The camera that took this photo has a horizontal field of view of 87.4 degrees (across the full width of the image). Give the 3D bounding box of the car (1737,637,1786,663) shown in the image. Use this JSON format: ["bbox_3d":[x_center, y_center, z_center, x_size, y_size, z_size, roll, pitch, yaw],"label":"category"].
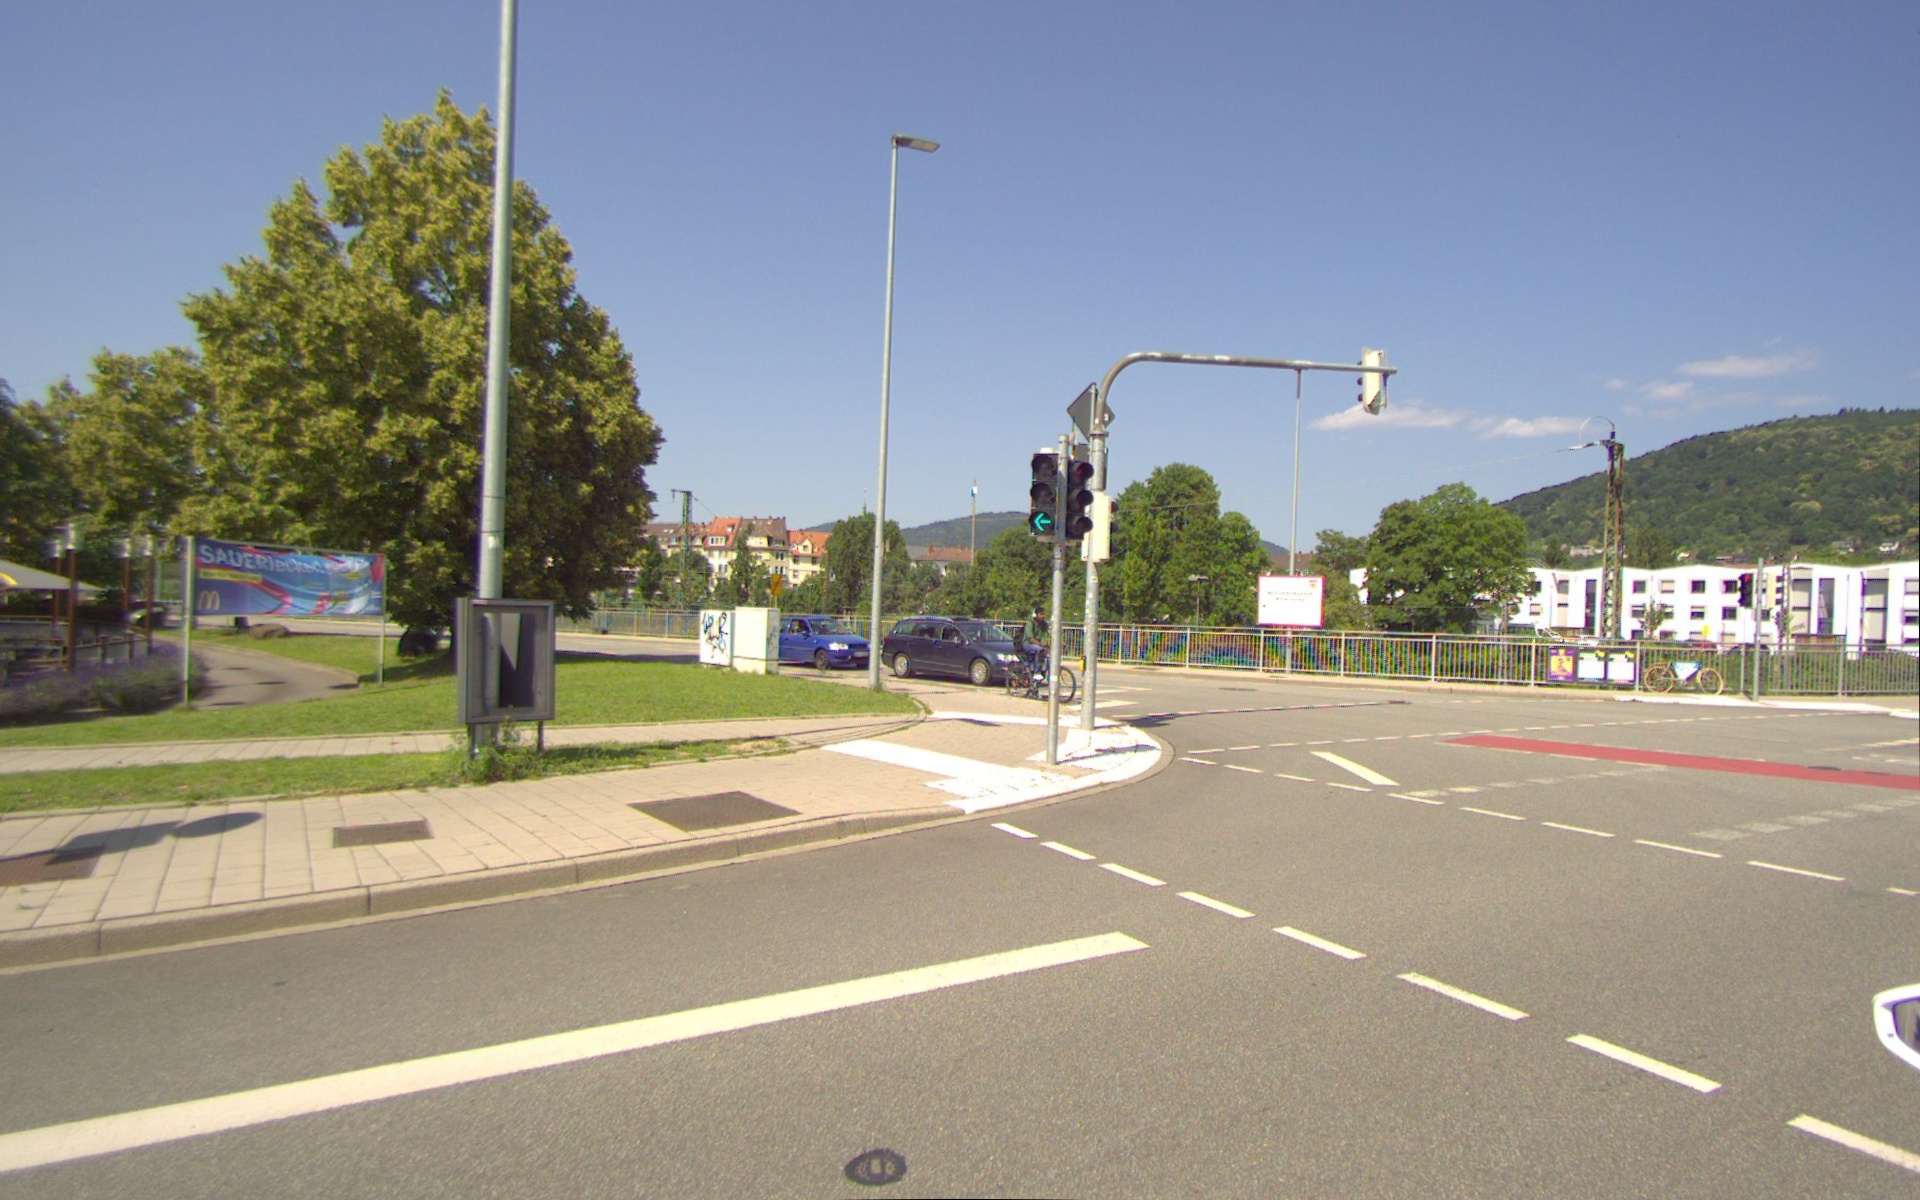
[{"bbox_3d":[69.275,4.310,86.831,4.421,2.040,1.982,2,0,-32],"label":"car"}]

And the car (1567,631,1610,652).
[{"bbox_3d":[63.152,4.194,100.928,4.421,2.040,1.982,2,0,-32],"label":"car"}]

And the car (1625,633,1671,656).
[{"bbox_3d":[65.063,4.222,94.951,4.421,2.040,1.982,2,0,-32],"label":"car"}]

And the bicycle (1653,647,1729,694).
[{"bbox_3d":[18.655,1.801,25.641,1.587,1.115,0.298,2,0,8],"label":"bicycle"}]

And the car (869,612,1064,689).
[{"bbox_3d":[0.054,1.111,23.611,1.774,1.516,4.659,2,0,-45],"label":"car"}]

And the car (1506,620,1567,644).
[{"bbox_3d":[57.086,3.181,99.457,4.918,2.141,1.990,2,0,41],"label":"car"}]

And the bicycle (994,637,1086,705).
[{"bbox_3d":[1.492,1.308,18.902,0.694,1.119,1.734,0,1,-41],"label":"bicycle"}]

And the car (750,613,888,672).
[{"bbox_3d":[-3.968,1.128,27.852,3.943,1.399,1.652,1,0,43],"label":"car"}]

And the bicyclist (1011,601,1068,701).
[{"bbox_3d":[1.494,0.940,18.911,0.707,1.813,0.799,-1,2,-41],"label":"bicyclist"}]
